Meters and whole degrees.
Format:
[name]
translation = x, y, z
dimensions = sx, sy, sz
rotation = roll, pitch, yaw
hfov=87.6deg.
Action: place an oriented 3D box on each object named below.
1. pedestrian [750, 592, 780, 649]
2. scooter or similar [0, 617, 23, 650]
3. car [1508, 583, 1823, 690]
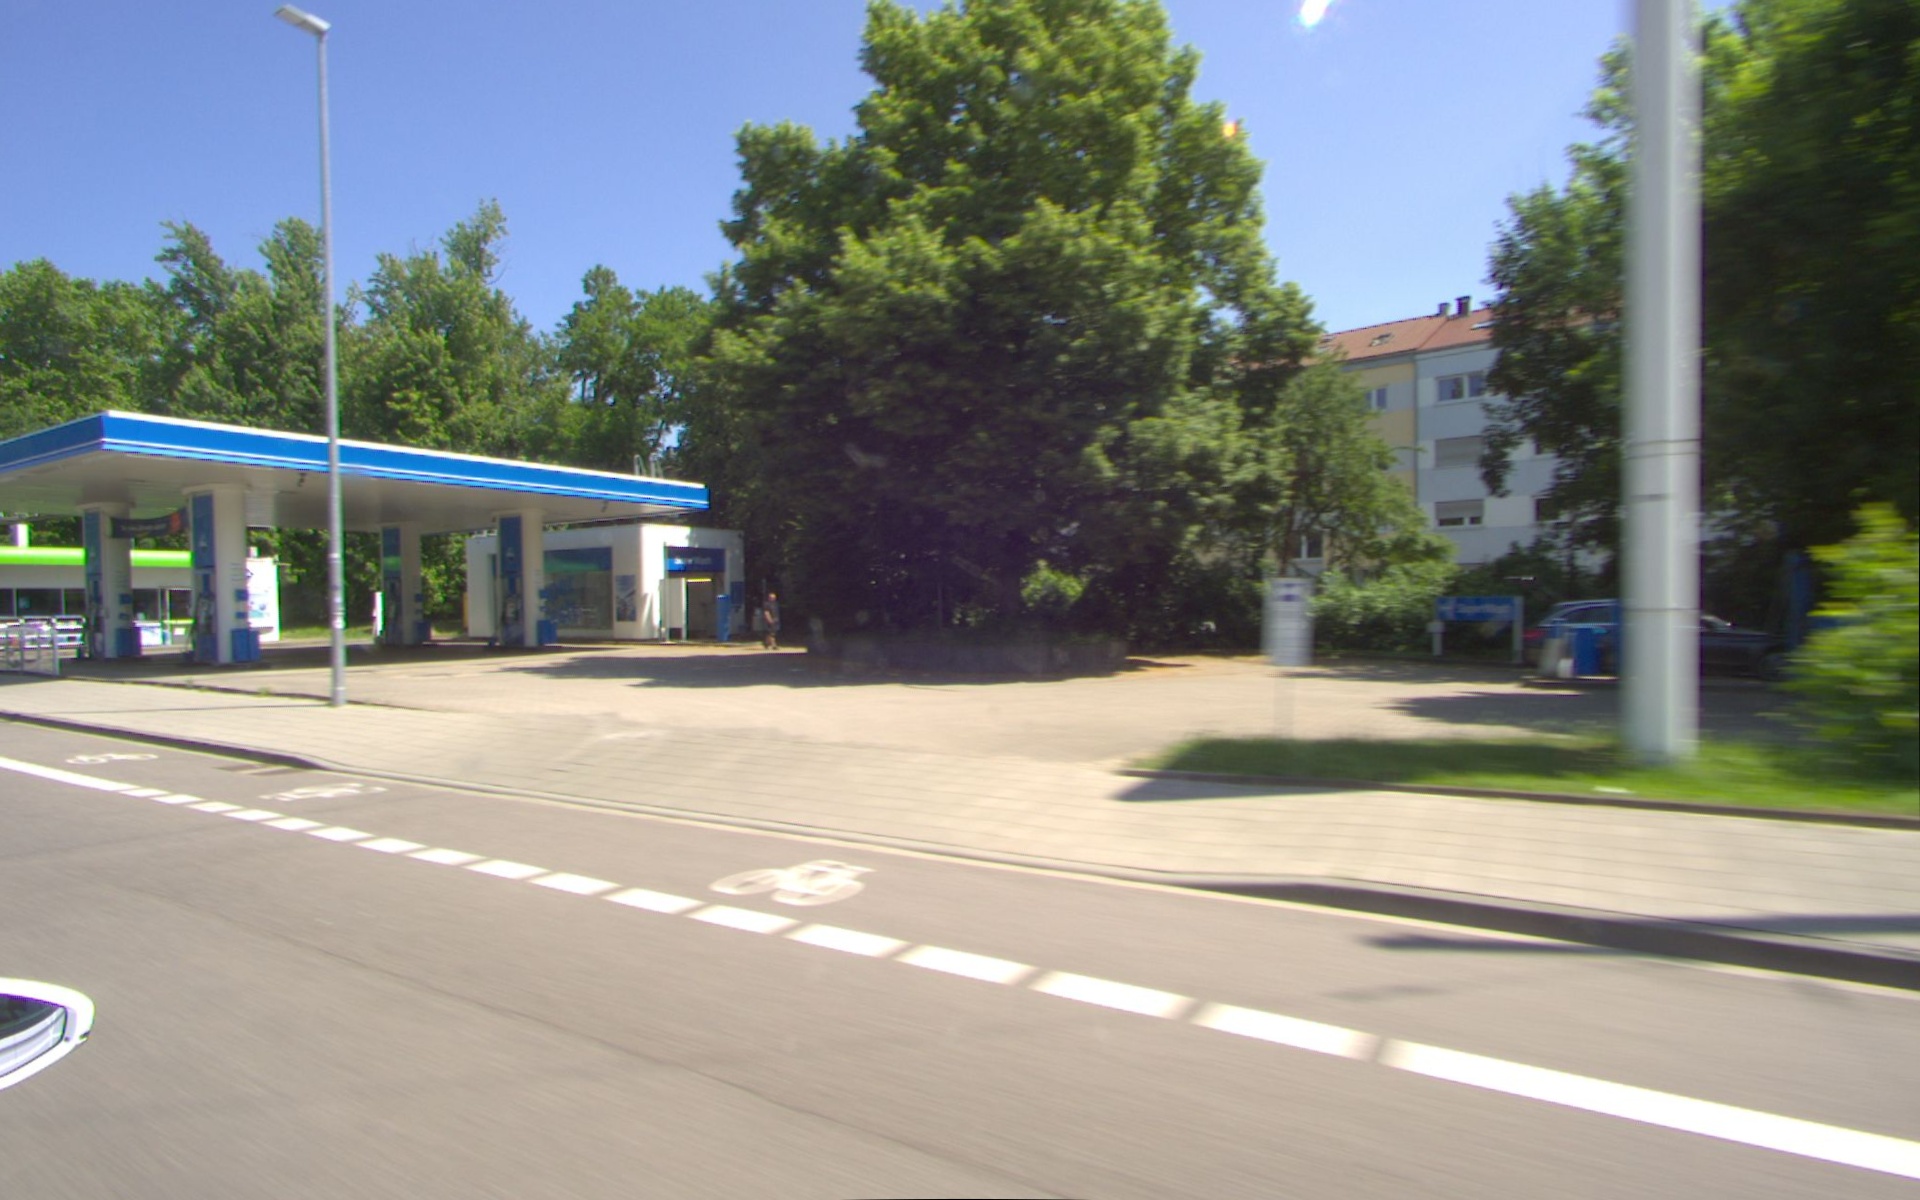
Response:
[pedestrian]
translation = -6.675, 0.690, 34.311
dimensions = 0.825, 1.914, 0.623
rotation = 1, 2, 32
[scooter or similar]
translation = -35.502, 1.252, 37.078
dimensions = 0.378, 1.192, 1.133
rotation = 0, 0, 32
[car]
translation = 12.364, 0.629, 17.822
dimensions = 4.354, 1.684, 1.986
rotation = -2, -1, 37
